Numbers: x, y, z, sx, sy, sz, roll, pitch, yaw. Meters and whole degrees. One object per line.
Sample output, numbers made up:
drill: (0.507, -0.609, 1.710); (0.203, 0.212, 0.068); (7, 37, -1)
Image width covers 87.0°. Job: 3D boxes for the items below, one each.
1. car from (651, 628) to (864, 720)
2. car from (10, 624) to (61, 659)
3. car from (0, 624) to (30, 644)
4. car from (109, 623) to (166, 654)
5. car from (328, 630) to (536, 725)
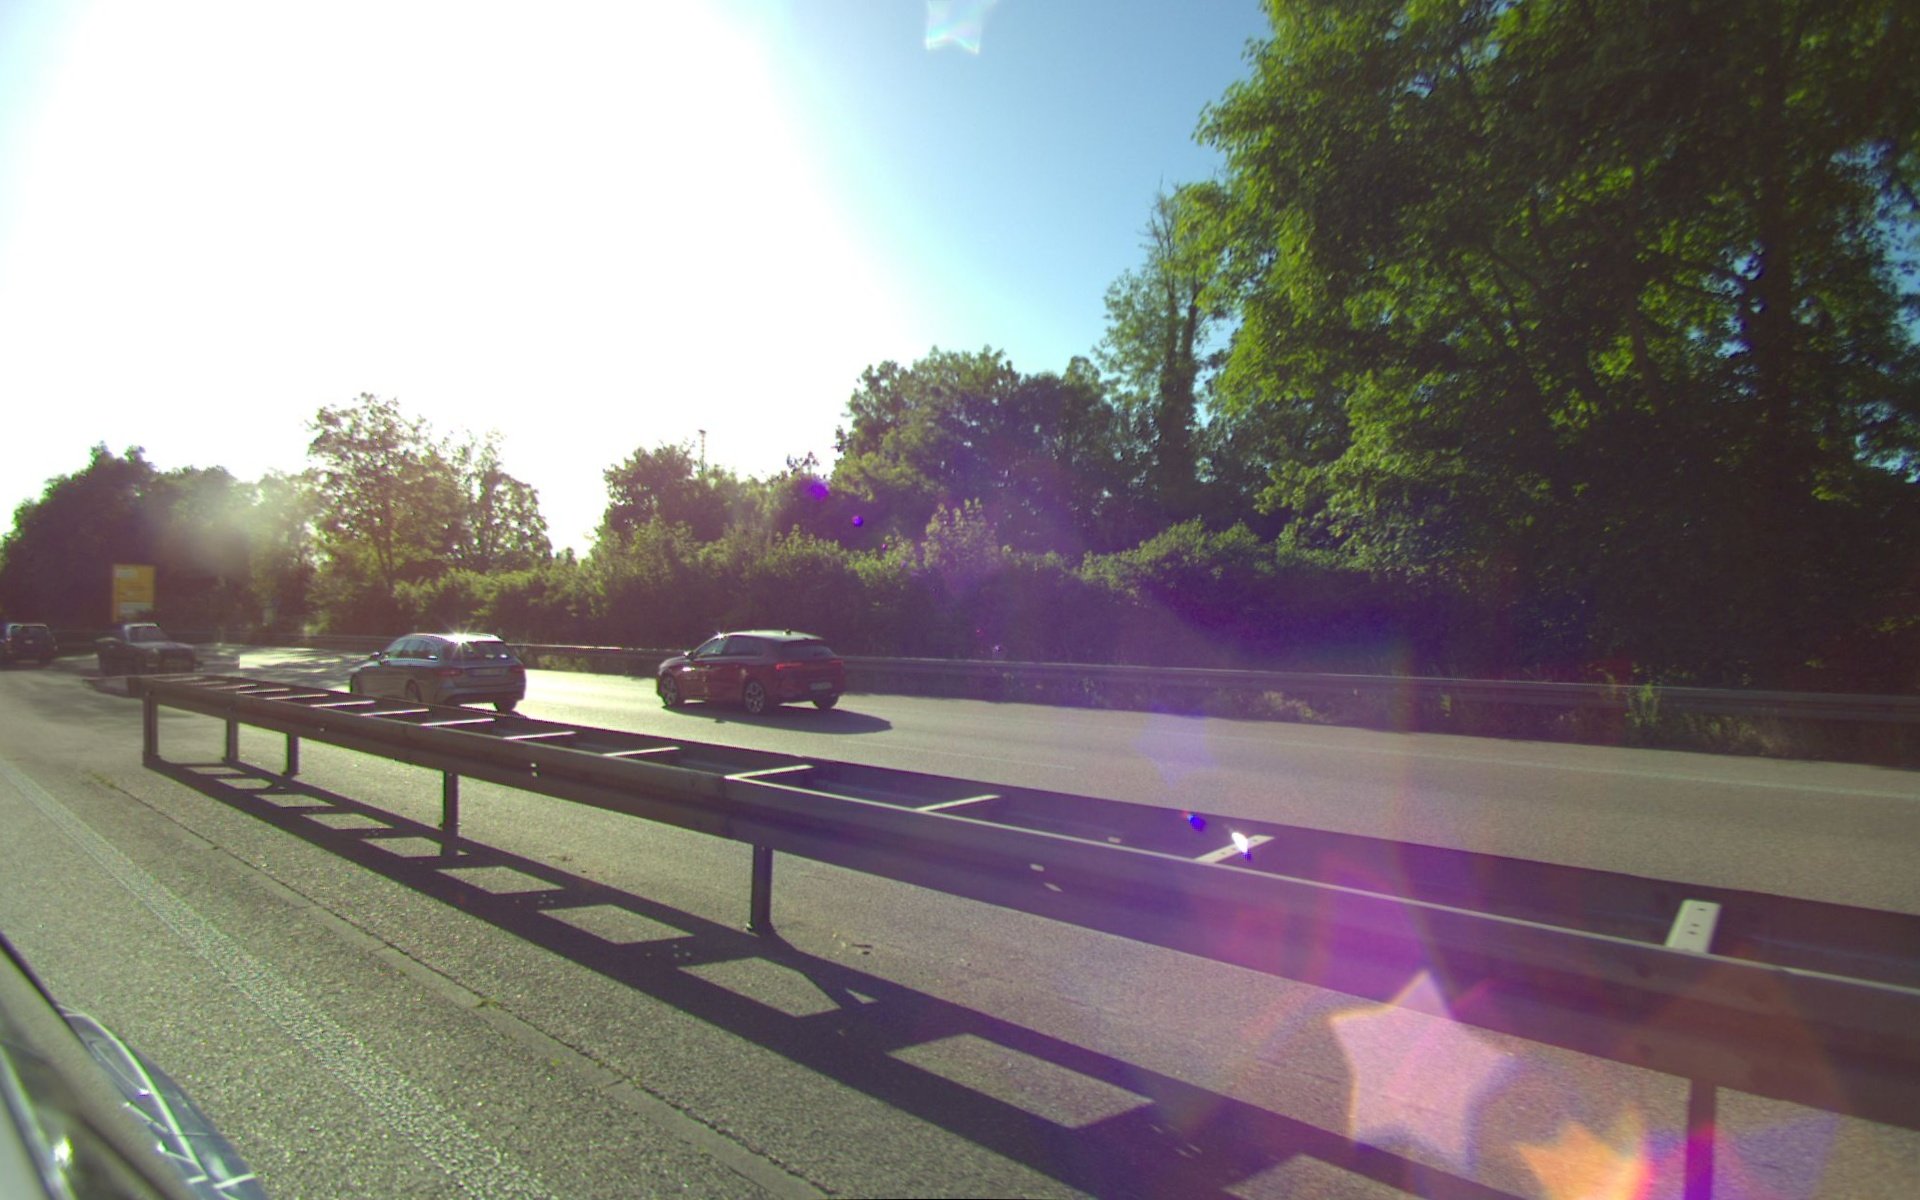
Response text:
car: (-3.839, 1.281, 18.833); (4.134, 1.436, 1.730); (-1, 0, 41)
car: (-49.772, 2.217, 54.483); (3.791, 1.716, 1.621); (-1, 0, 41)
car: (-81.978, 2.918, 87.688); (3.791, 1.561, 1.621); (-1, 0, 41)
car: (-44.151, 2.050, 54.292); (3.975, 1.506, 1.730); (-1, 0, 41)
car: (-10.079, 1.357, 19.103); (5.202, 1.436, 1.730); (-1, 0, 41)
